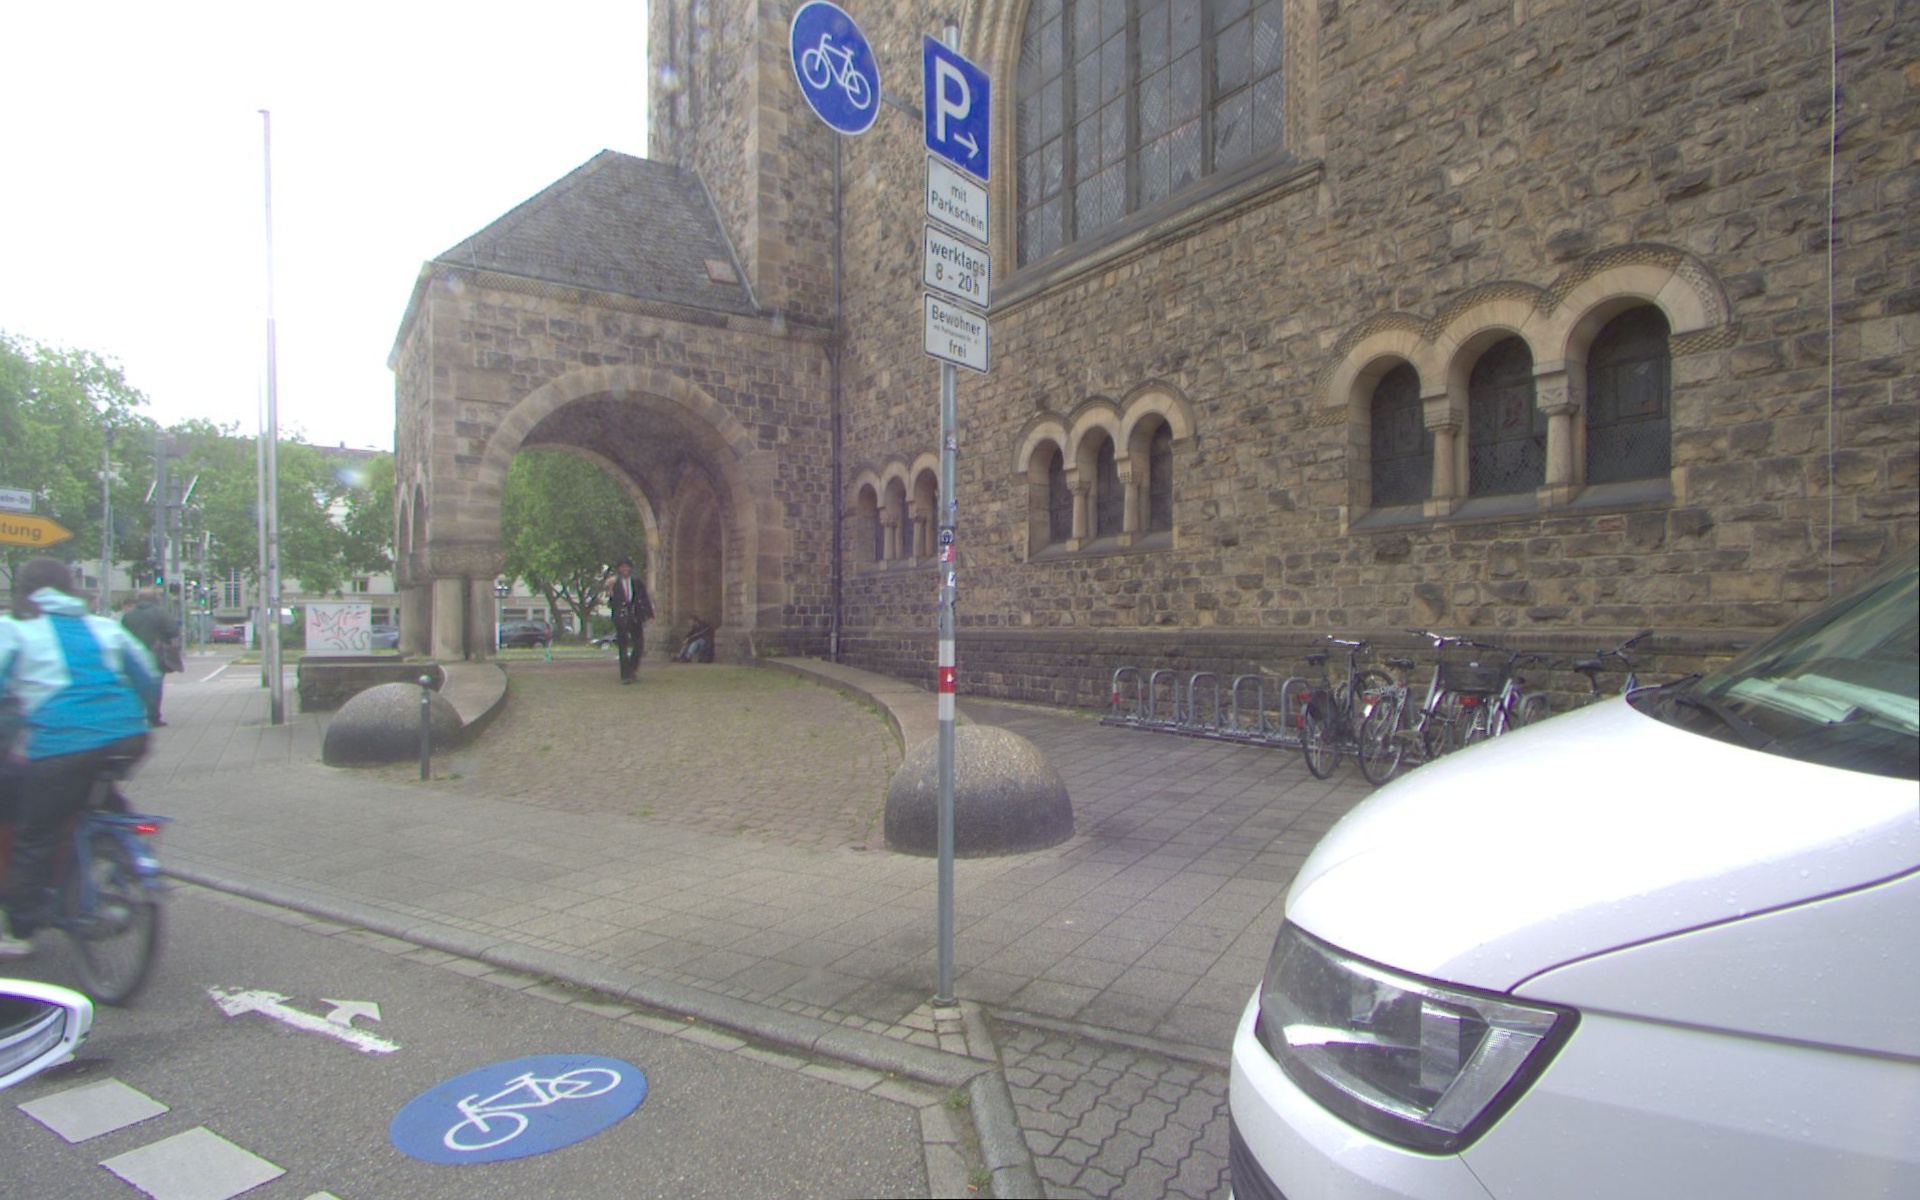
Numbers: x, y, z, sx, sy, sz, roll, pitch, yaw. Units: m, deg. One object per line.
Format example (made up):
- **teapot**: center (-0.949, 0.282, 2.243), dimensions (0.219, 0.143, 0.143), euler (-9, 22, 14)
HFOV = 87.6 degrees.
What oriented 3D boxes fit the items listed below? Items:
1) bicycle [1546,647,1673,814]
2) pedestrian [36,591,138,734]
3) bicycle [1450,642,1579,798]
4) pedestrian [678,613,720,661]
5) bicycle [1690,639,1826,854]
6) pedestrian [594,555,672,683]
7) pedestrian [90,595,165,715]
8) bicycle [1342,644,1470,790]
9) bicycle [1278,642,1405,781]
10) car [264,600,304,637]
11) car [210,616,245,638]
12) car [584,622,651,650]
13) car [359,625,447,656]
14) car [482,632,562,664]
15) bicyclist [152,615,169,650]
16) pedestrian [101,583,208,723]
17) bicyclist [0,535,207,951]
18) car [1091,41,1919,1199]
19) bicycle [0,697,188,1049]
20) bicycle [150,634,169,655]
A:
- **bicycle**: center (4.617, 0.882, 7.093), dimensions (1.327, 1.073, 0.309), euler (1, -1, -36)
- **pedestrian**: center (-10.927, 0.755, 12.534), dimensions (0.955, 1.708, 0.673), euler (0, 2, 32)
- **bicycle**: center (4.188, 0.860, 7.524), dimensions (1.366, 1.073, 0.309), euler (1, -1, -36)
- **pedestrian**: center (-5.379, 0.760, 20.637), dimensions (0.665, 0.964, 0.611), euler (0, -1, -36)
- **bicycle**: center (4.827, 0.827, 6.033), dimensions (1.327, 1.161, 0.309), euler (1, -1, -36)
- **pedestrian**: center (-4.995, 0.272, 15.280), dimensions (0.806, 1.834, 1.011), euler (0, 4, -37)
- **pedestrian**: center (-12.245, 0.777, 14.730), dimensions (0.957, 1.696, 0.630), euler (0, 2, 39)
- **bicycle**: center (3.617, 0.907, 8.083), dimensions (1.366, 1.073, 0.309), euler (1, -1, -36)
- **bicycle**: center (3.221, 0.902, 8.408), dimensions (1.366, 1.073, 0.309), euler (1, -1, -36)
- **car**: center (-50.415, 1.393, 74.765), dimensions (2.211, 2.673, 5.417), euler (1, -1, -31)
- **car**: center (-51.624, 1.886, 70.613), dimensions (1.647, 1.535, 3.916), euler (1, -1, -31)
- **car**: center (-20.188, 2.085, 59.044), dimensions (3.423, 1.581, 1.676), euler (1, -1, -35)
- **car**: center (-29.500, 2.120, 53.059), dimensions (3.939, 1.581, 1.676), euler (1, -1, -35)
- **car**: center (-24.744, 2.677, 56.601), dimensions (3.899, 1.733, 1.676), euler (1, -1, -35)
- **bicyclist**: center (-38.753, 1.578, 48.521), dimensions (0.608, 1.675, 0.749), euler (0, -1, -36)
- **pedestrian**: center (-10.781, 0.679, 13.413), dimensions (0.955, 1.782, 0.802), euler (0, 2, 32)
- **bicyclist**: center (-3.825, 0.539, 4.252), dimensions (1.043, 1.537, 0.684), euler (0, 0, 32)
- **car**: center (2.804, 0.466, 0.788), dimensions (5.088, 1.945, 1.802), euler (-1, -1, 31)
- **bicycle**: center (-4.045, 1.030, 4.280), dimensions (2.108, 1.112, 0.493), euler (0, -1, 32)
- **bicycle**: center (-38.772, 2.140, 48.511), dimensions (0.546, 1.008, 2.047), euler (0, -1, -35)
